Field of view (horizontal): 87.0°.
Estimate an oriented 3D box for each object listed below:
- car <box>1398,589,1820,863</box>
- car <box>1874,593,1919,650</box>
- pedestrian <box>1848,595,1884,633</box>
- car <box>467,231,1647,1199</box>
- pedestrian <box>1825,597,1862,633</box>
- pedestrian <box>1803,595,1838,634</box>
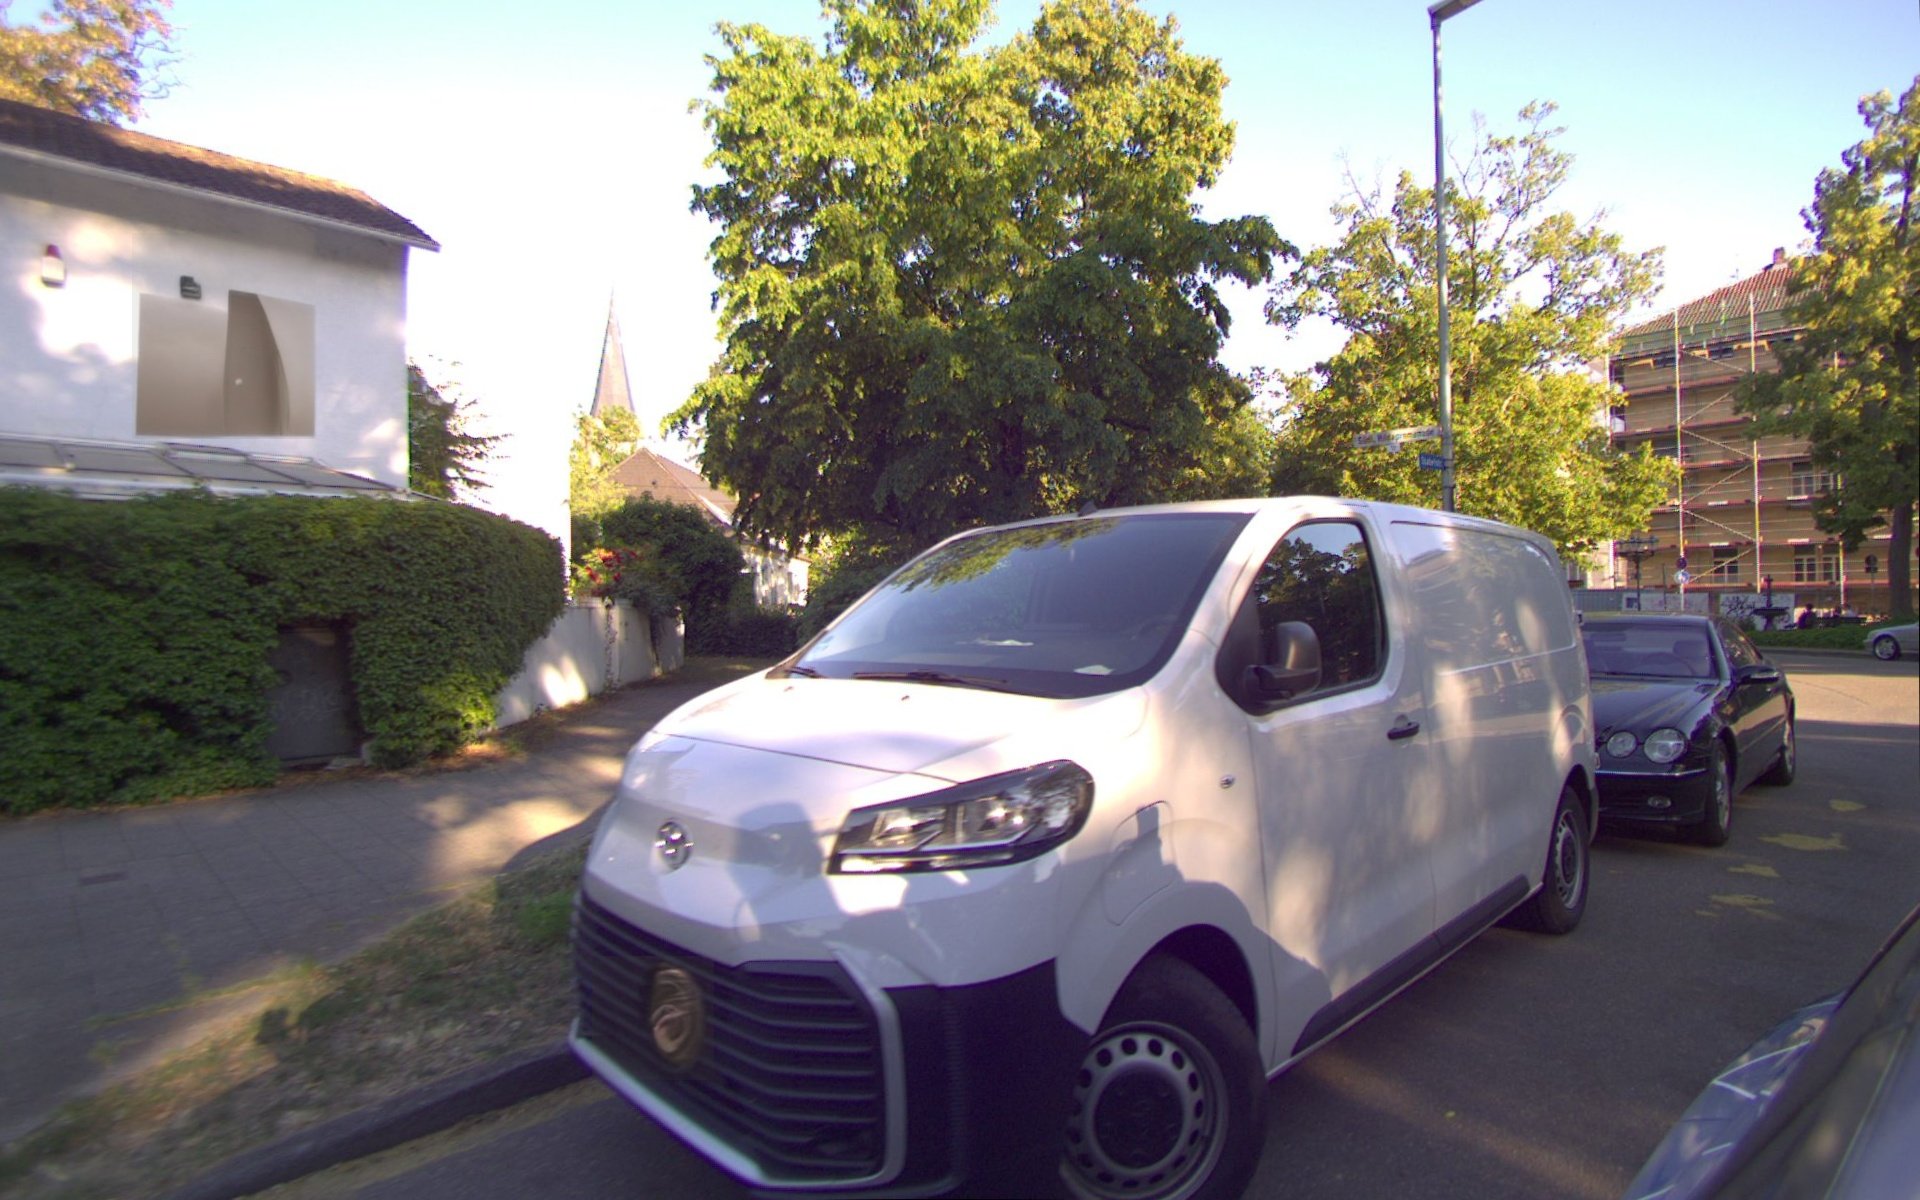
[{"bbox_3d":[5.241,0.686,7.826,1.766,1.487,4.786,-2,-1,45],"label":"car"},{"bbox_3d":[24.914,0.550,24.238,1.750,1.434,4.500,1,-1,-4],"label":"car"},{"bbox_3d":[30.453,0.475,34.022,0.544,1.249,0.722,-1,-1,10],"label":"pedestrian"},{"bbox_3d":[1.000,0.420,4.114,5.068,2.039,1.954,0,-1,-44],"label":"car"},{"bbox_3d":[29.911,0.513,34.267,0.544,1.211,0.881,-1,-1,10],"label":"pedestrian"},{"bbox_3d":[29.187,0.489,34.326,0.544,1.314,0.763,-1,-1,10],"label":"pedestrian"}]
